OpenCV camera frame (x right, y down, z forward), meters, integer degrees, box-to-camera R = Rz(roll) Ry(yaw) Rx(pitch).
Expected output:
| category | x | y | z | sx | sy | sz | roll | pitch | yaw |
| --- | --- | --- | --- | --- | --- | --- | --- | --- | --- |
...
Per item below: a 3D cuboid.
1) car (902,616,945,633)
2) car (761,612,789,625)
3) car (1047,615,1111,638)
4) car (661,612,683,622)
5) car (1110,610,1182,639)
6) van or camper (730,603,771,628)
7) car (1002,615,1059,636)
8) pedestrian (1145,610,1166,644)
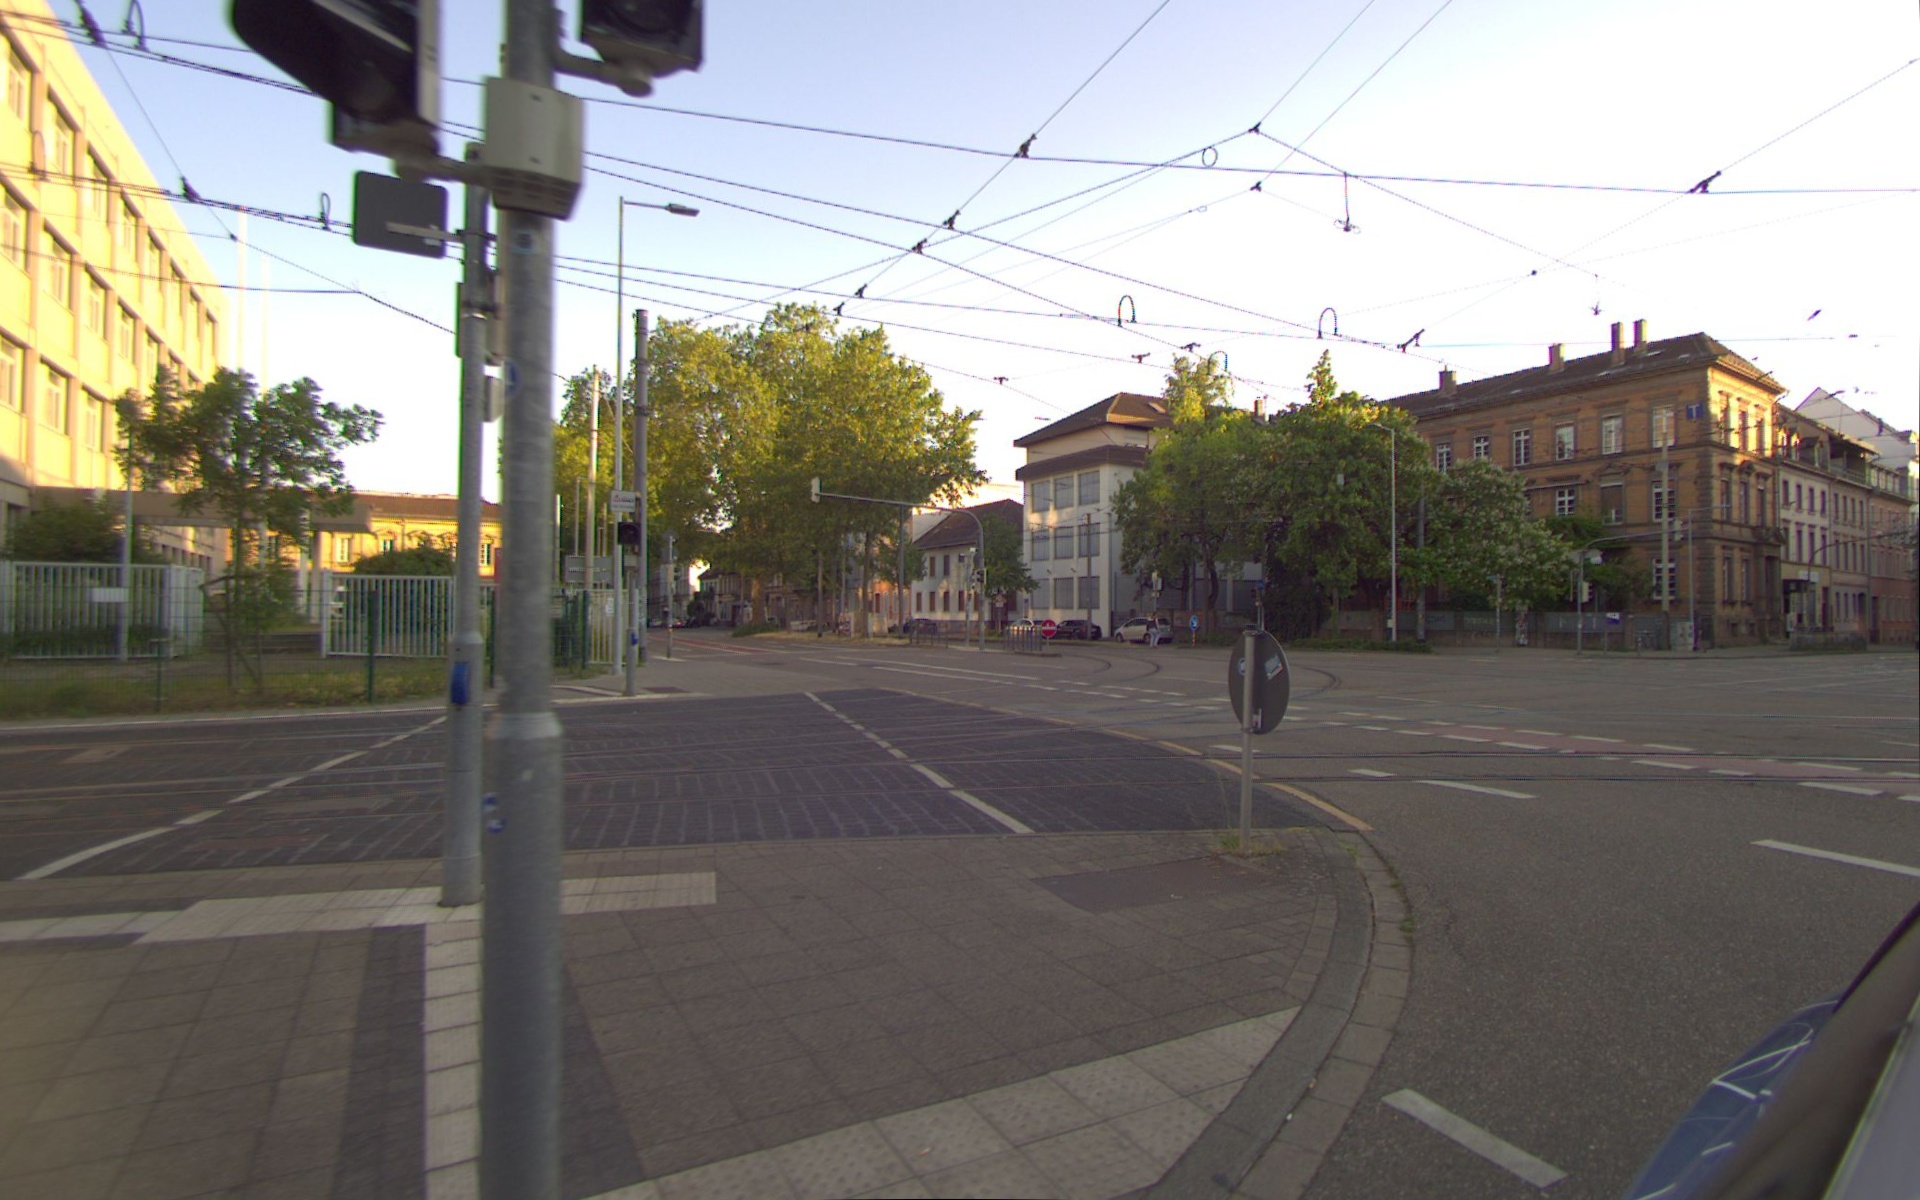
| category | x | y | z | sx | sy | sz | roll | pitch | yaw |
| --- | --- | --- | --- | --- | --- | --- | --- | --- | --- |
| car | -3.127 | 2.045 | 85.757 | 1.960 | 1.442 | 4.235 | 1 | -1 | -30 |
| car | -22.000 | 2.204 | 120.427 | 1.960 | 1.442 | 4.235 | 1 | -1 | -30 |
| car | 7.738 | 1.689 | 66.099 | 1.960 | 1.442 | 4.363 | 1 | -1 | -30 |
| car | -40.168 | 2.365 | 141.011 | 1.913 | 1.418 | 4.654 | 0 | 0 | -30 |
| car | 11.022 | 1.439 | 60.178 | 1.960 | 1.653 | 4.235 | 1 | -1 | -30 |
| van or camper | -26.348 | 1.983 | 127.010 | 2.450 | 3.009 | 7.181 | 1 | -1 | -33 |
| car | 4.894 | 1.749 | 71.064 | 1.960 | 1.442 | 4.235 | 1 | -1 | -30 |
| pedestrian | 9.120 | 1.262 | 47.231 | 0.800 | 1.546 | 0.581 | 1 | -2 | -24 |
